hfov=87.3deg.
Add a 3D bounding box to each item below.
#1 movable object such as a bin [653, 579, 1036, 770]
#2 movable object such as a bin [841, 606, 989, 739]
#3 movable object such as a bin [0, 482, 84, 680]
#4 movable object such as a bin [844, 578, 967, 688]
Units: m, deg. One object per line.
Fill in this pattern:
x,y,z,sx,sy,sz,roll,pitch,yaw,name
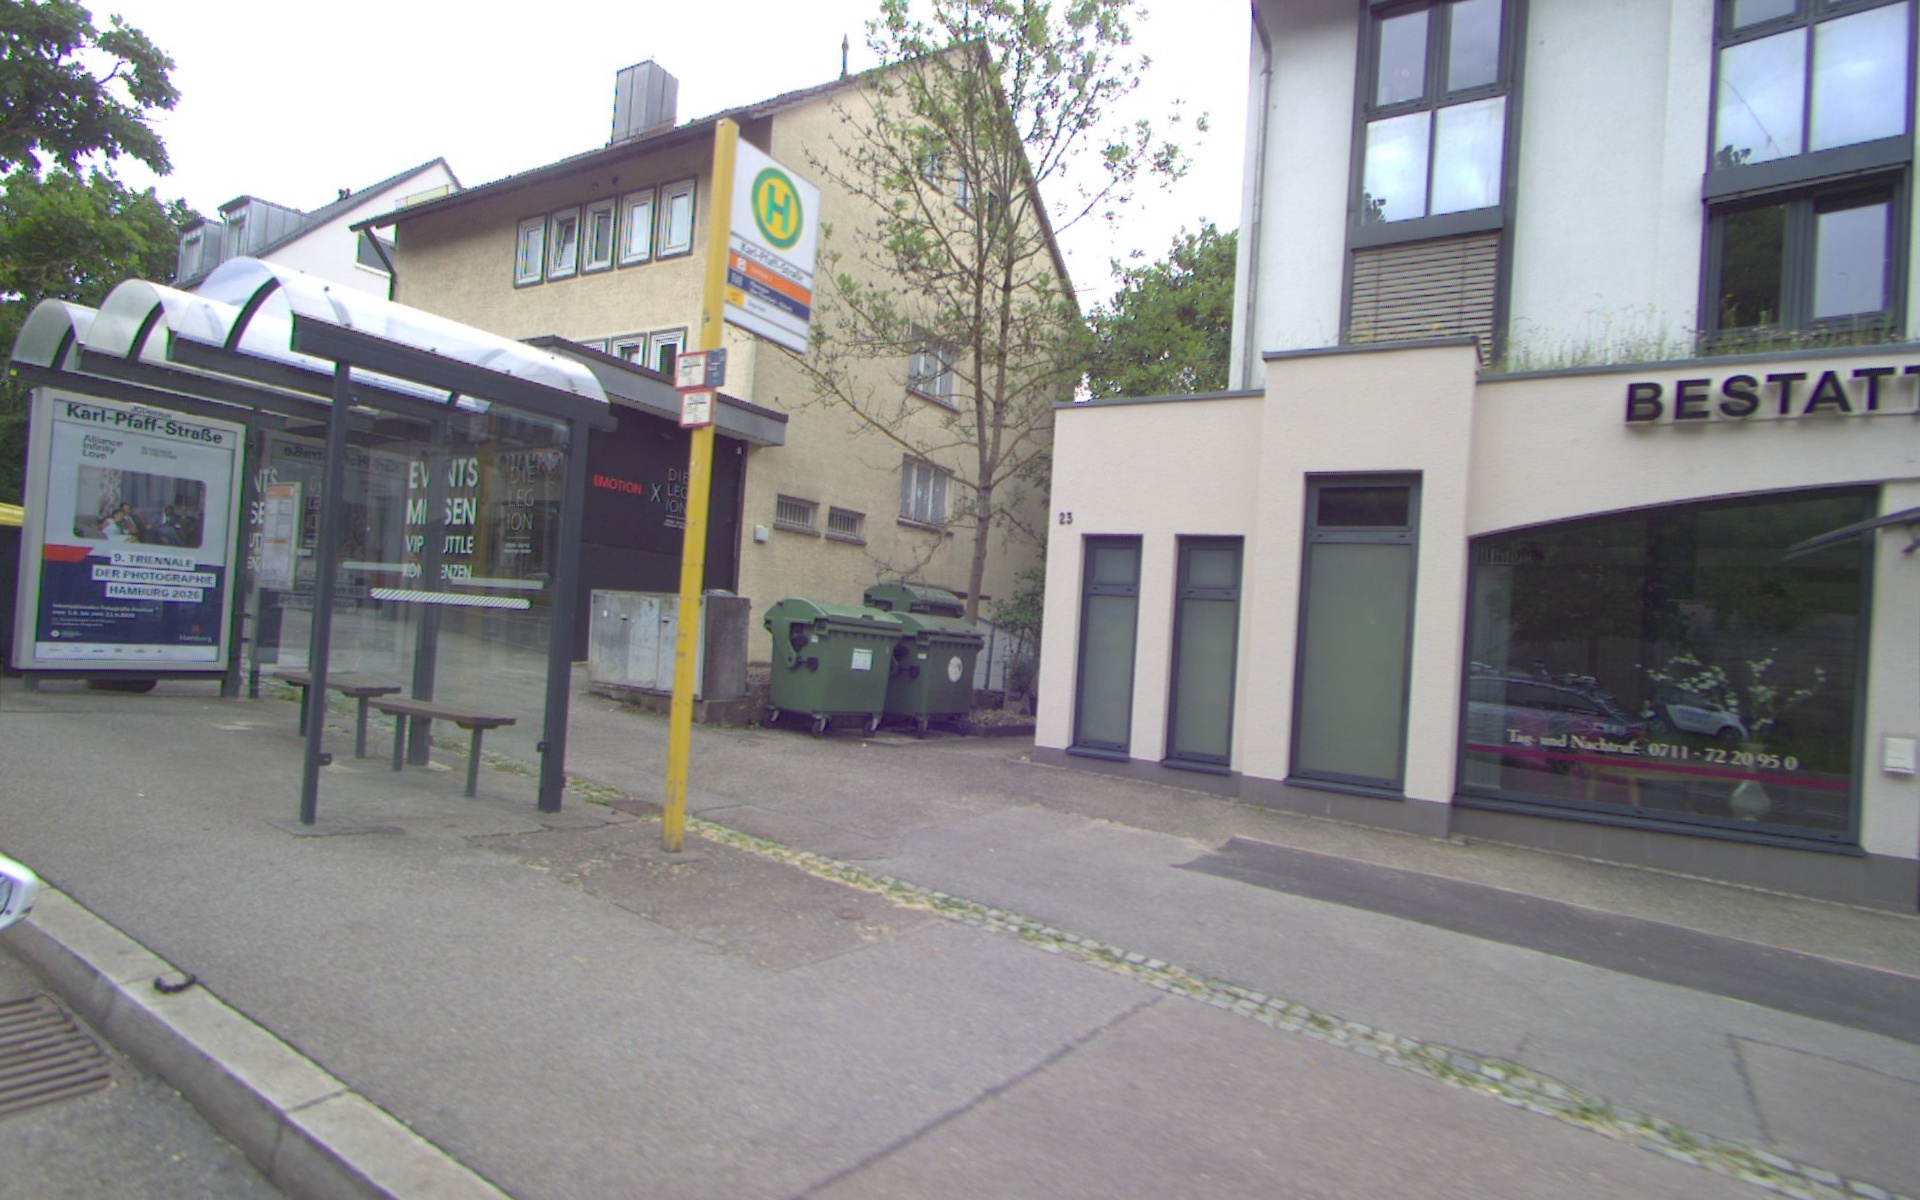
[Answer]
-1.375,0.762,11.427,3.936,1.469,1.890,7,0,34,movable object such as a bin
-0.542,0.897,12.487,1.109,1.426,1.341,7,0,34,movable object such as a bin
-7.985,-0.231,7.975,1.512,1.500,1.086,7,0,33,movable object such as a bin
-0.788,0.506,14.806,1.053,1.426,1.341,7,0,34,movable object such as a bin
